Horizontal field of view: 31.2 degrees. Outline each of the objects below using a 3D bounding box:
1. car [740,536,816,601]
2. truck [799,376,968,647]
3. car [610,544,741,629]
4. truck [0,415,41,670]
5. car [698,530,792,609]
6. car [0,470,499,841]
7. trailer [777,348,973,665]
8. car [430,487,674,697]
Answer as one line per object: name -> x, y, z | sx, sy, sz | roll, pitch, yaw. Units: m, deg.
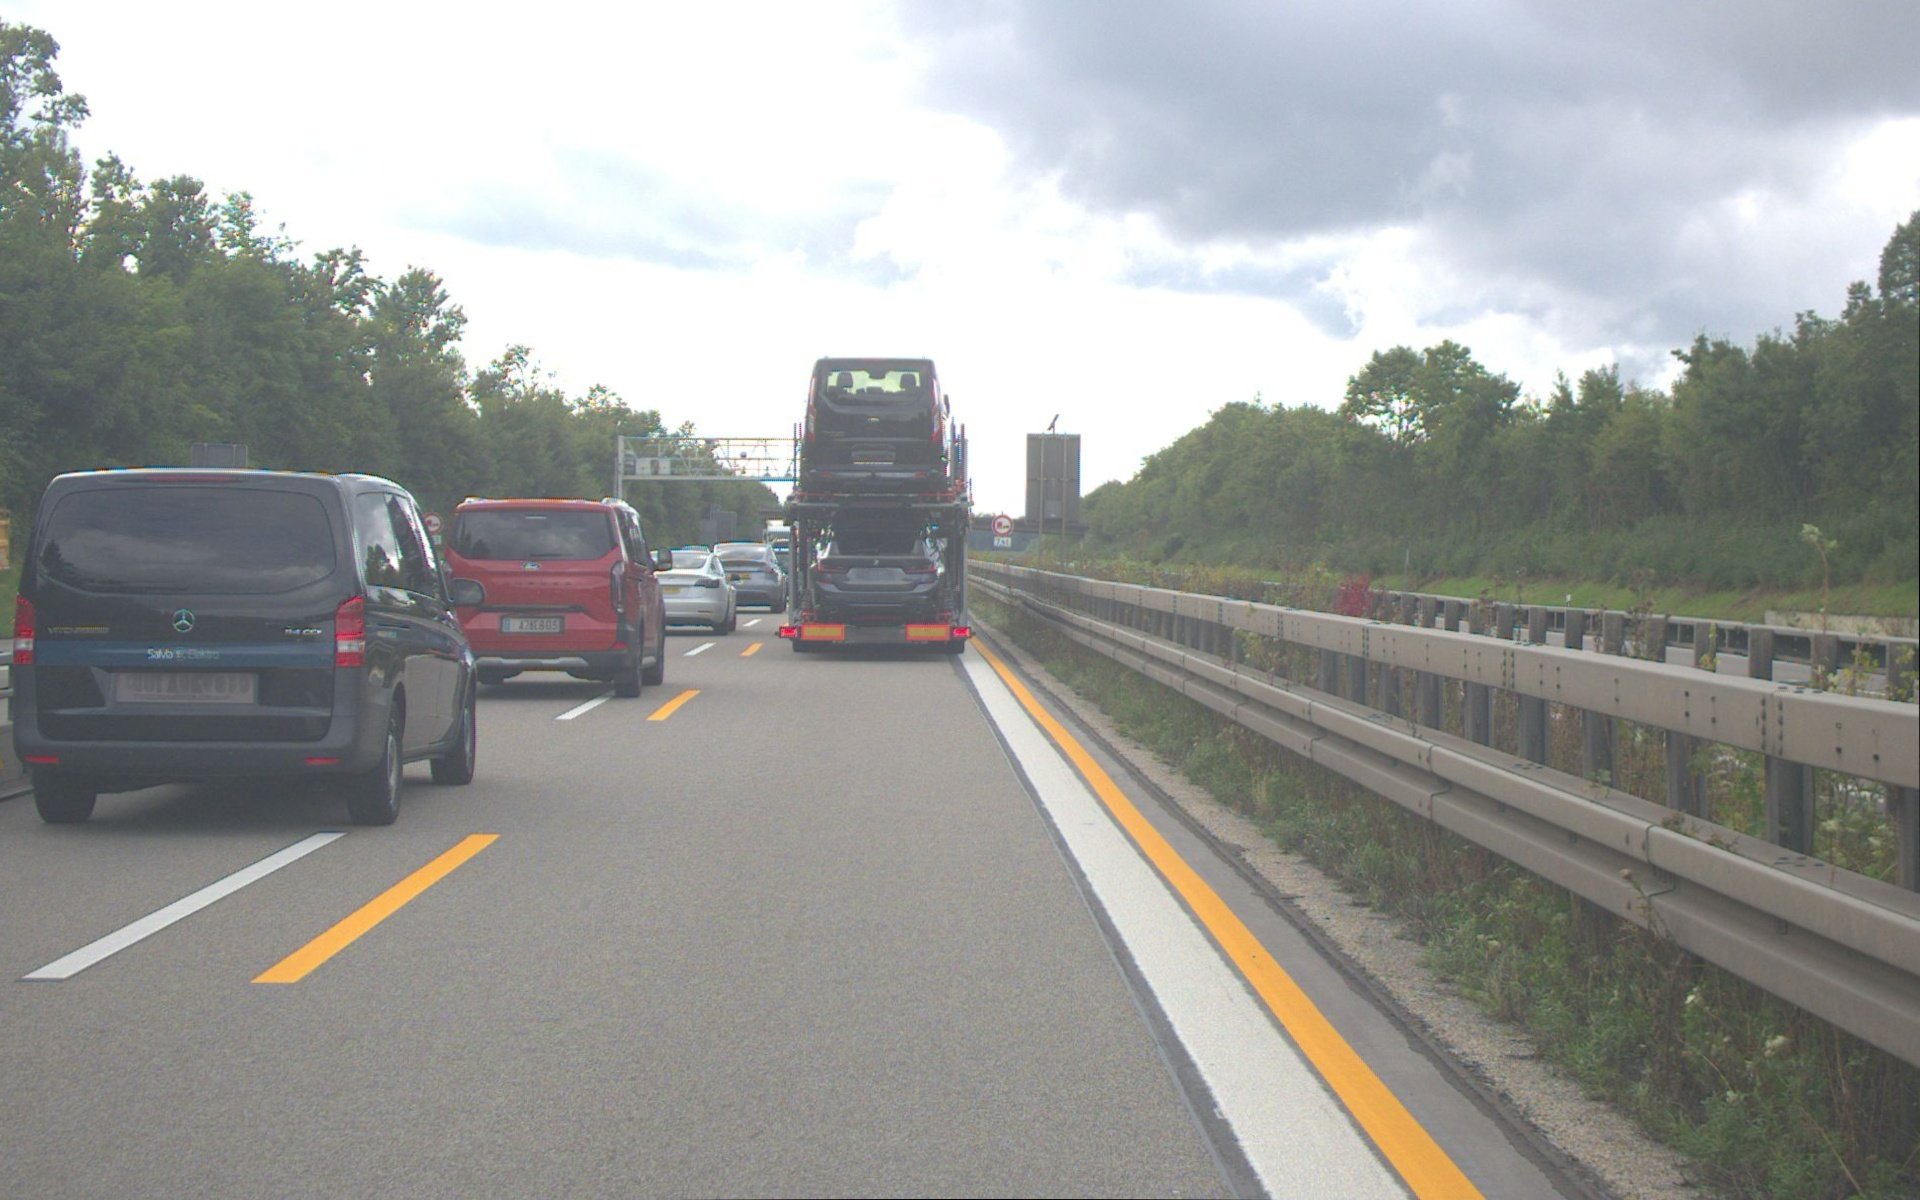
car -> -5.013, -0.876, 95.172 | 2.031, 1.751, 4.578 | 0, 1, -2
truck -> -1.183, -1.380, 55.080 | 2.515, 4.091, 5.685 | 1, 1, 0
car -> -4.910, -0.265, 59.957 | 2.031, 1.426, 4.578 | 0, 1, -2
truck -> -11.407, -0.596, 34.775 | 2.490, 2.708, 6.667 | 1, 1, -1
car -> -4.953, -0.723, 79.730 | 2.031, 1.751, 4.578 | 0, 1, -2
car -> -3.991, 0.233, 19.848 | 1.993, 1.837, 5.610 | 0, 1, -1
trailer -> -1.146, -1.299, 50.339 | 2.515, 4.091, 11.114 | 1, 1, 0
car -> -4.103, -0.112, 35.282 | 2.031, 2.007, 4.578 | 0, 1, -1
